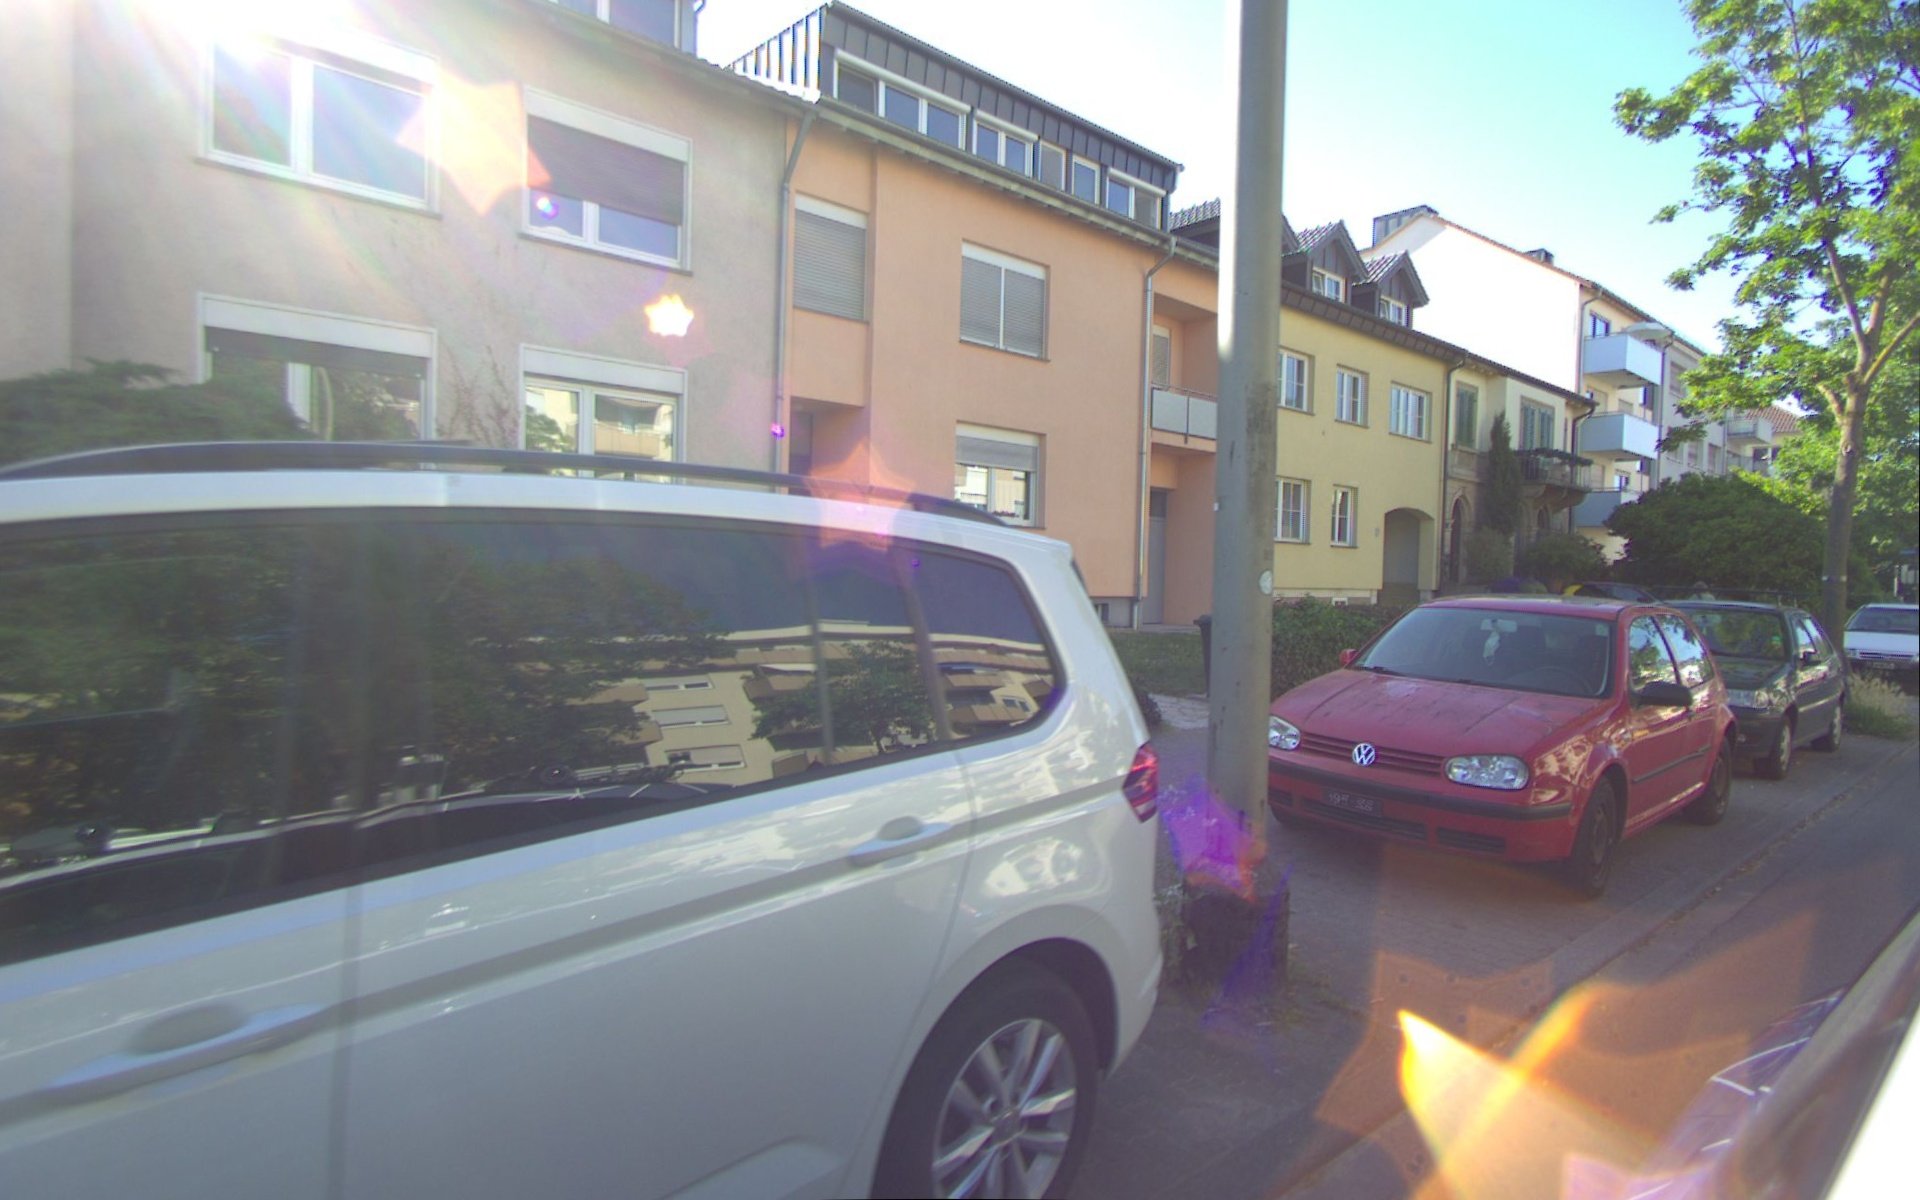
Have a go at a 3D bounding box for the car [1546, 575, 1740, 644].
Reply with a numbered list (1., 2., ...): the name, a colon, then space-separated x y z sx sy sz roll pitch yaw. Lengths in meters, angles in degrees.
1. car: 18.651 0.207 27.773 1.799 1.458 3.998 0 5 -40

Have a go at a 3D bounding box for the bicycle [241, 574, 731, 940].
1. bicycle: -1.987 0.550 4.396 1.790 1.262 0.699 0 3 -41

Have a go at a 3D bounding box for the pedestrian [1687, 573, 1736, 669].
1. pedestrian: 13.606 0.367 18.331 0.485 1.698 0.539 1 2 -40

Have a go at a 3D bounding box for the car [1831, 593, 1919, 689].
1. car: 16.178 0.665 17.072 3.900 1.420 1.653 0 4 -41

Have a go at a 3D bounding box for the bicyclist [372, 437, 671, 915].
1. bicyclist: -1.918 0.274 4.435 0.998 1.815 0.725 1 3 -41

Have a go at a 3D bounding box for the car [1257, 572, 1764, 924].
1. car: 3.496 0.625 6.137 3.654 1.467 1.534 0 2 -42

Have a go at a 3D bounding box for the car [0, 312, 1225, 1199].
1. car: -1.558 0.508 1.654 4.267 1.679 1.772 0 3 -42

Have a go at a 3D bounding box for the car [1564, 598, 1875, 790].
1. car: 7.139 0.711 9.392 3.653 1.372 1.535 0 2 -41

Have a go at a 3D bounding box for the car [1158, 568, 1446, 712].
1. car: 4.152 0.397 12.045 3.653 1.372 1.535 0 4 -41
